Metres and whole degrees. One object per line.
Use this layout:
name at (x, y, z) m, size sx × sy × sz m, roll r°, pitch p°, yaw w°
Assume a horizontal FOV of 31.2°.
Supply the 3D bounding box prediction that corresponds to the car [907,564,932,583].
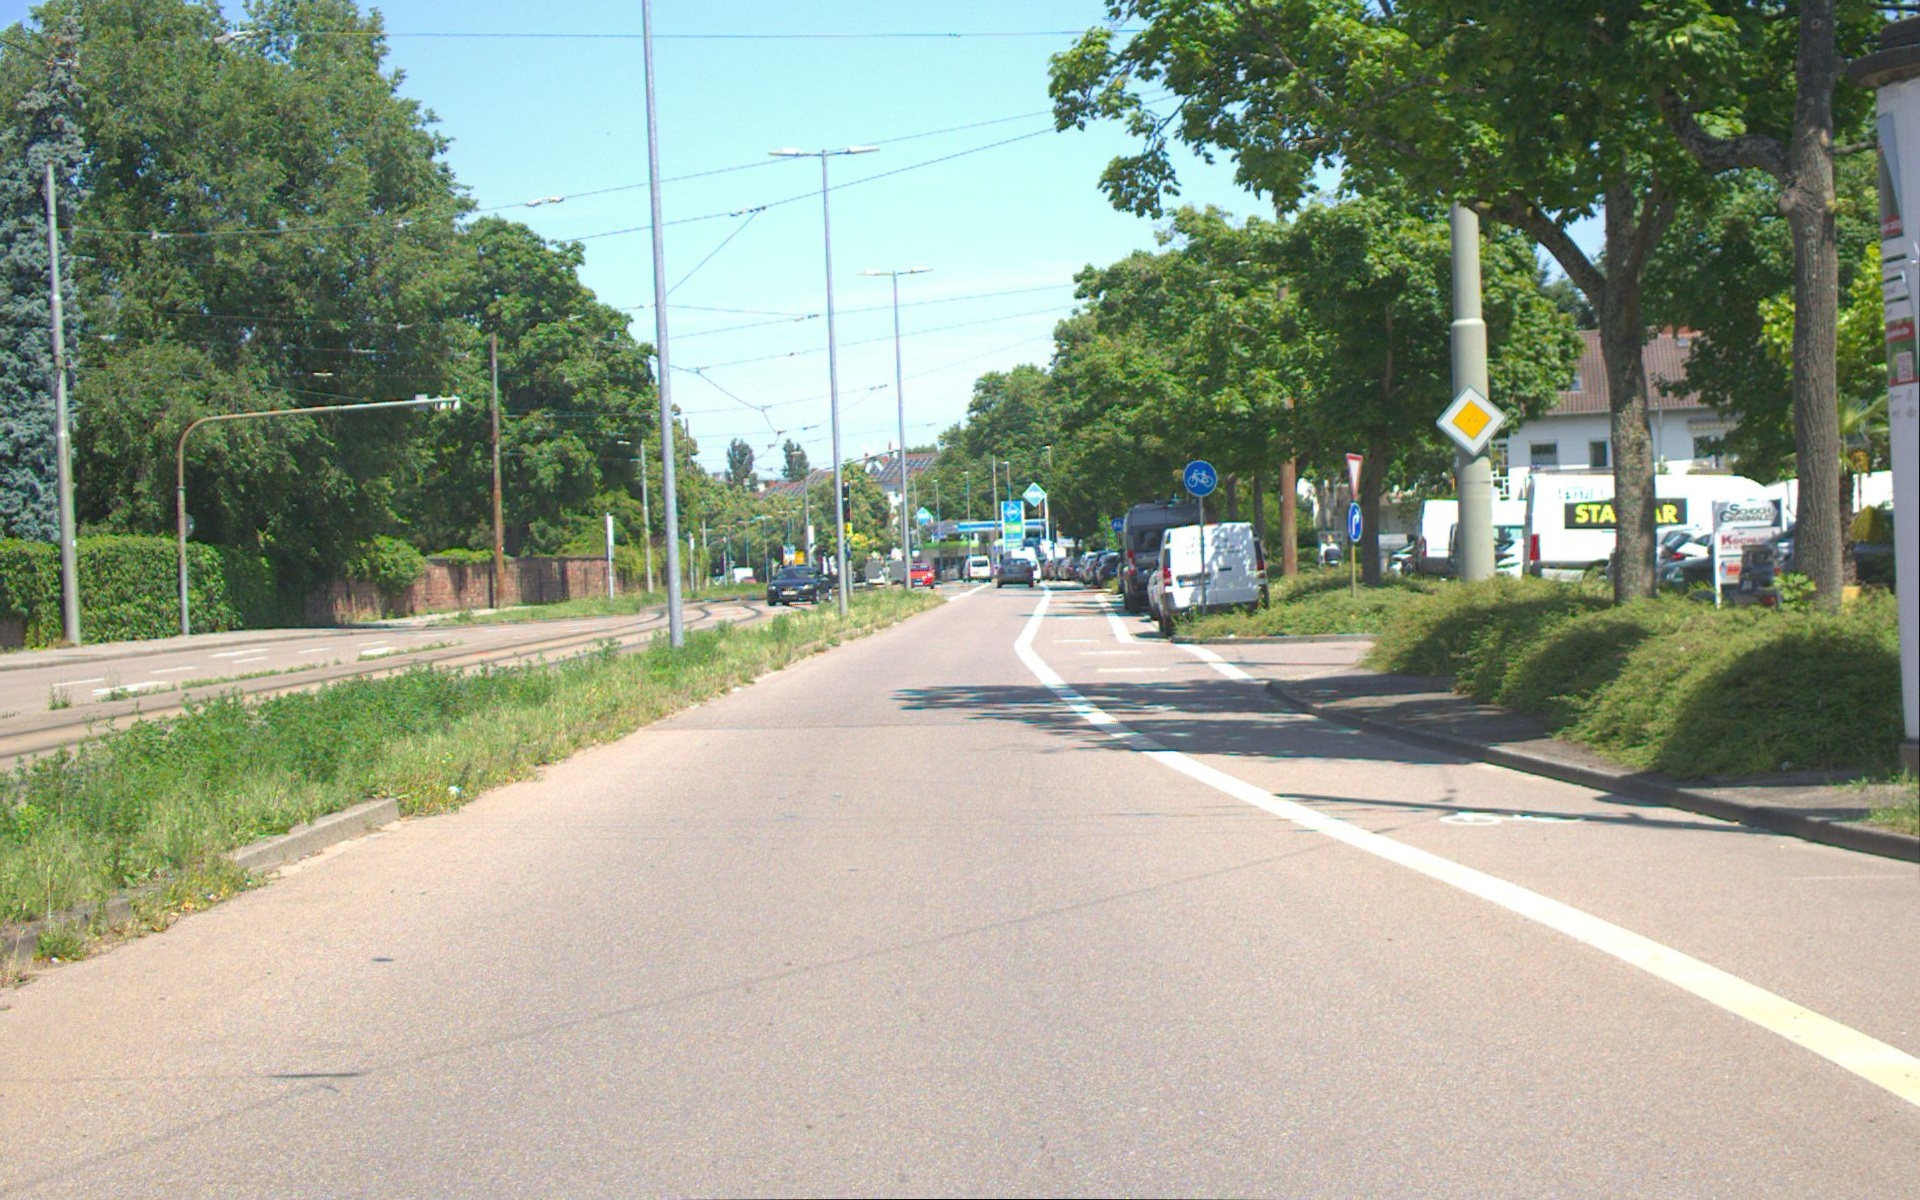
car at (-2.298, -1.538, 196.736) m, size 1.386 × 1.024 × 3.145 m, roll -2°, pitch 1°, yaw -1°

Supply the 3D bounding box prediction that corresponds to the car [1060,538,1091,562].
car at (6.620, -2.869, 197.158) m, size 1.523 × 1.292 × 3.493 m, roll -2°, pitch 1°, yaw -1°

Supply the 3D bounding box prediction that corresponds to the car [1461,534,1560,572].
car at (15.263, -1.299, 95.405) m, size 2.588 × 0.959 × 1.149 m, roll -2°, pitch 1°, yaw 3°

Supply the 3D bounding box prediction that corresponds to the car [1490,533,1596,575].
car at (14.824, -1.179, 87.439) m, size 2.588 × 0.959 × 1.149 m, roll -2°, pitch 1°, yaw 7°

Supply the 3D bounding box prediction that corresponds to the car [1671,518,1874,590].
car at (15.328, -0.874, 64.972) m, size 3.544 × 1.218 × 1.476 m, roll -2°, pitch 1°, yaw 7°

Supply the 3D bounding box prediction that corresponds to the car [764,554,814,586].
car at (-6.119, -1.092, 123.181) m, size 1.492 × 1.043 × 3.580 m, roll -2°, pitch 1°, yaw 1°

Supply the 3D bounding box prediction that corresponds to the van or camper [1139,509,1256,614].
van or camper at (4.232, -0.703, 61.775) m, size 1.922 × 1.766 × 4.000 m, roll -2°, pitch 1°, yaw 2°

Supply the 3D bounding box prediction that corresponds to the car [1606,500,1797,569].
car at (14.707, -1.304, 68.300) m, size 3.544 × 1.218 × 1.476 m, roll -2°, pitch 0°, yaw 7°

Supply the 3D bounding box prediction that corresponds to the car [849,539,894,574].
car at (-2.833, -1.380, 109.532) m, size 1.291 × 1.050 × 2.601 m, roll -2°, pitch 1°, yaw -4°

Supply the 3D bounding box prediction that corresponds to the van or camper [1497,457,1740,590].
van or camper at (14.220, -1.656, 74.430) m, size 4.756 × 2.662 × 2.136 m, roll -2°, pitch 1°, yaw 1°

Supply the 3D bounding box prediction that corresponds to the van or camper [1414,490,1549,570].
van or camper at (14.970, -2.006, 98.789) m, size 3.557 × 2.138 × 1.602 m, roll -2°, pitch 1°, yaw 1°

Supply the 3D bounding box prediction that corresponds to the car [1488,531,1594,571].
car at (15.219, -1.285, 90.161) m, size 2.588 × 0.959 × 1.149 m, roll -2°, pitch 1°, yaw 3°

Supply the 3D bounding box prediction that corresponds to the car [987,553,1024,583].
car at (2.156, -1.560, 164.866) m, size 1.637 × 1.346 × 3.842 m, roll -2°, pitch 1°, yaw -1°

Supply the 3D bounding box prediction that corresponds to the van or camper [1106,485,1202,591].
van or camper at (4.729, -1.524, 84.280) m, size 1.993 × 2.456 × 4.000 m, roll -2°, pitch 1°, yaw -1°
